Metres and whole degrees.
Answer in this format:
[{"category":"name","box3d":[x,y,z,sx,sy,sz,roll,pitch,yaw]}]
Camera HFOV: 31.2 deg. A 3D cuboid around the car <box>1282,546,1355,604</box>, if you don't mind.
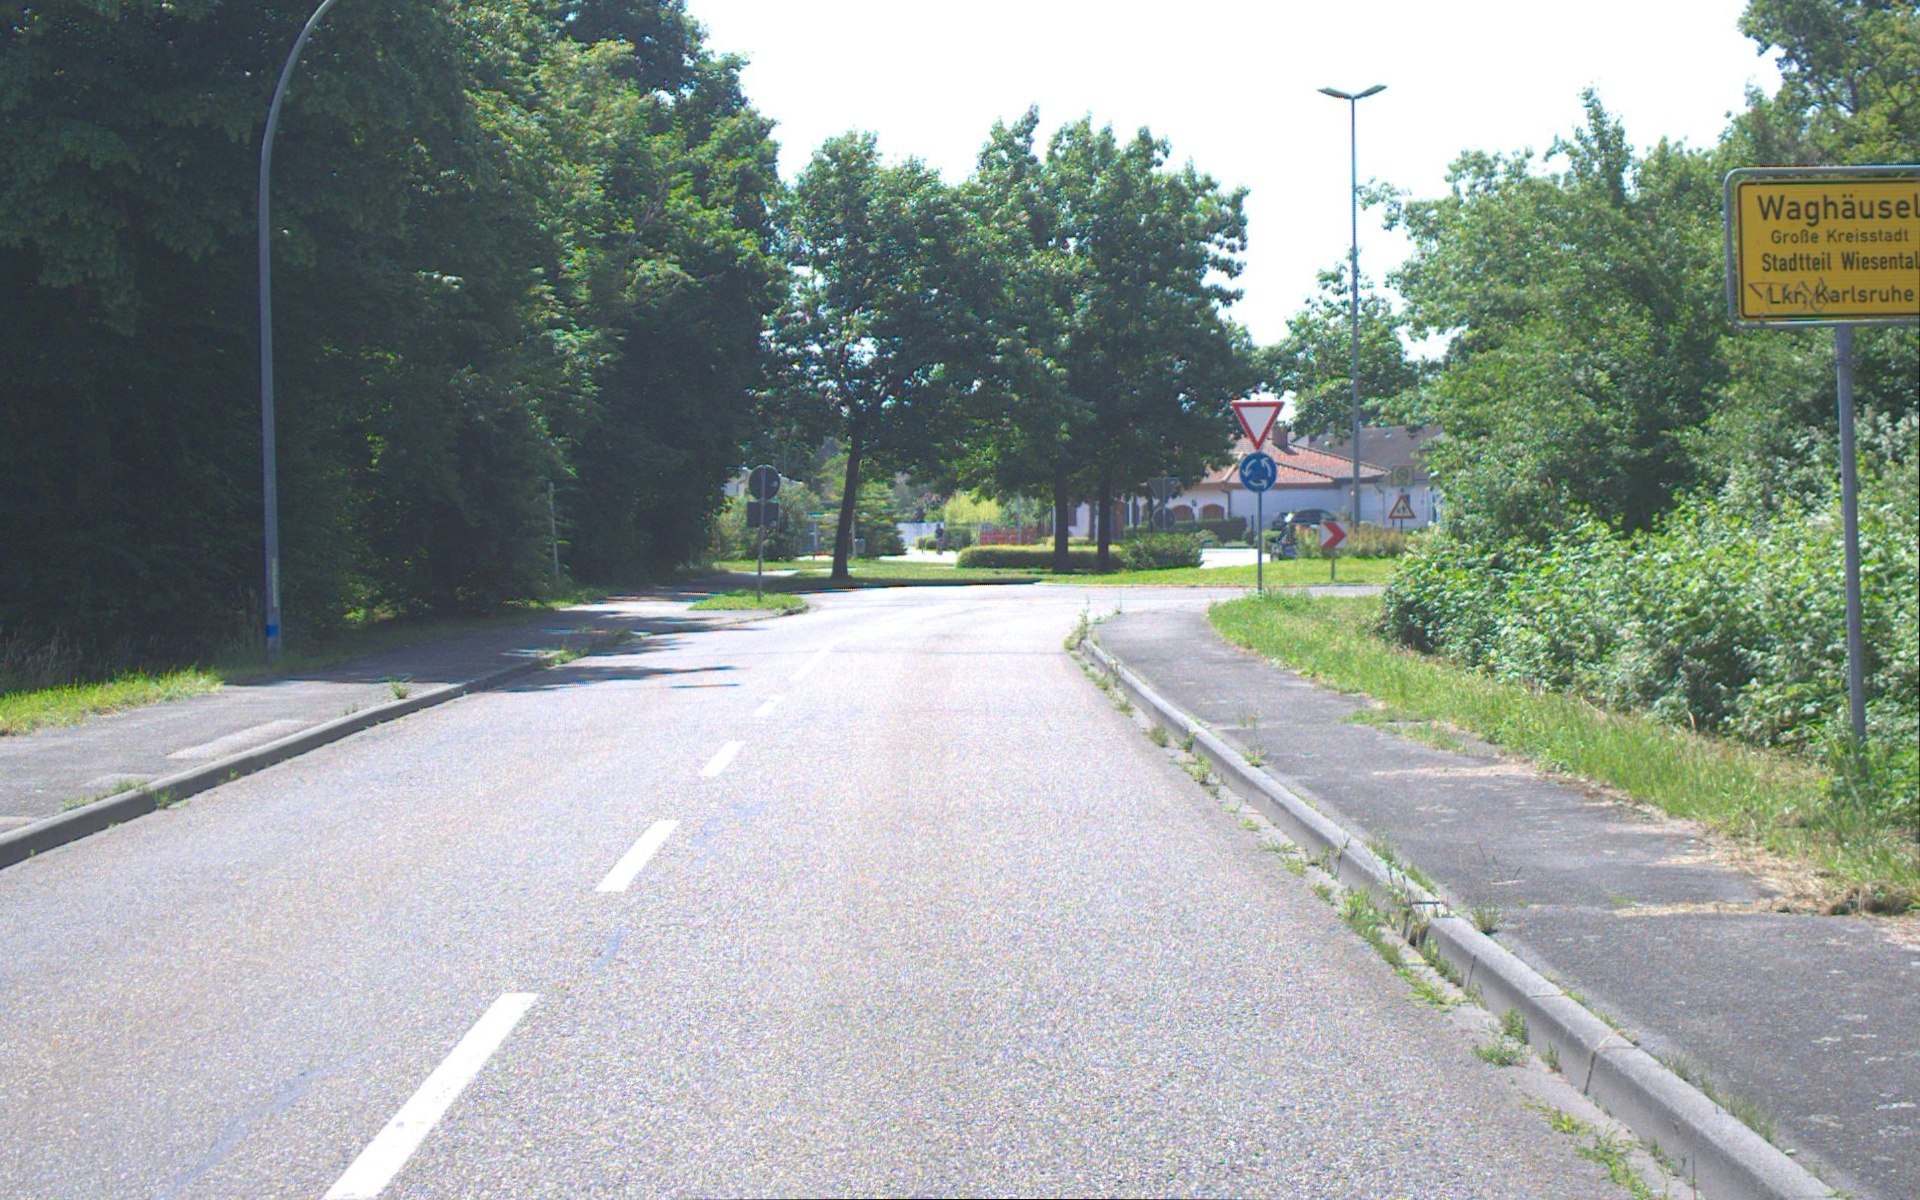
[{"category":"car","box3d":[9.785,-0.707,94.039,1.628,1.481,4.000,-1,2,1]}]
